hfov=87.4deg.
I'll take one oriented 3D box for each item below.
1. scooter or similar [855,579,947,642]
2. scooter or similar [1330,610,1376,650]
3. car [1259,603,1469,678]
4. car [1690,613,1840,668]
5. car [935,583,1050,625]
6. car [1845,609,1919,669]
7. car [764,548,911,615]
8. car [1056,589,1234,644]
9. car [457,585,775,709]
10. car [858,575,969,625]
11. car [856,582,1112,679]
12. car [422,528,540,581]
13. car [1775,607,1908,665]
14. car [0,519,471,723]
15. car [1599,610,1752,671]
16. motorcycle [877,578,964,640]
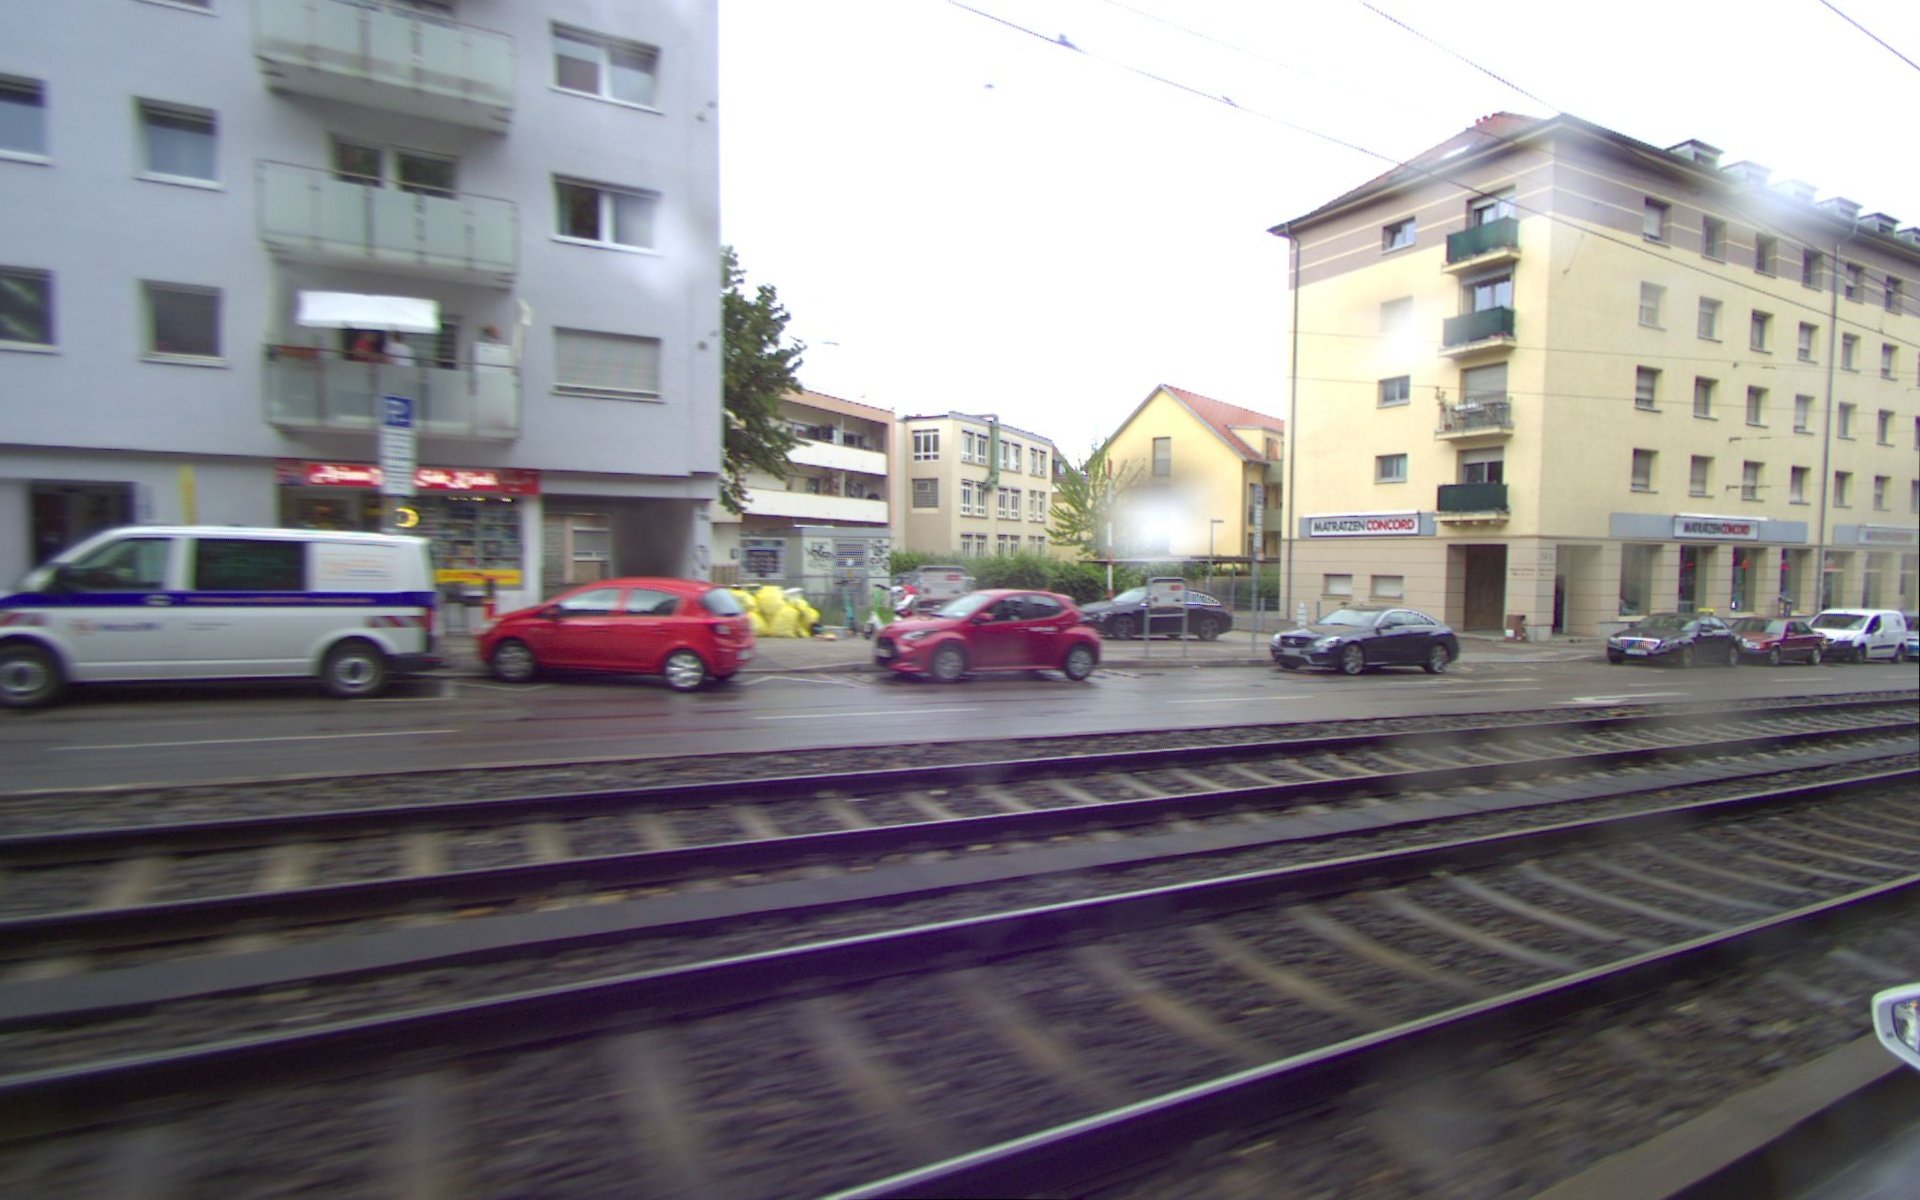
[{"bbox_3d":[-1.255,0.217,21.337,1.860,1.216,0.623,2,3,-9],"label":"scooter or similar"},{"bbox_3d":[11.945,0.912,30.550,0.375,1.127,1.282,1,2,-35],"label":"scooter or similar"},{"bbox_3d":[8.647,0.881,21.377,4.568,1.414,1.671,3,0,-30],"label":"car"},{"bbox_3d":[24.794,1.266,30.903,4.773,1.451,1.843,3,2,-29],"label":"car"},{"bbox_3d":[1.198,0.146,36.962,3.848,1.419,1.664,1,1,-23],"label":"car"},{"bbox_3d":[34.822,1.455,36.478,5.386,1.930,1.987,2,2,-25],"label":"car"},{"bbox_3d":[-3.565,-0.504,29.378,3.950,1.846,1.679,1,1,-28],"label":"car"},{"bbox_3d":[4.999,0.449,27.114,4.413,1.321,1.867,2,1,-22],"label":"car"},{"bbox_3d":[-4.857,0.617,14.516,3.902,1.453,1.786,3,1,6],"label":"car"},{"bbox_3d":[-1.772,-0.004,38.409,3.850,1.654,1.663,4,1,-24],"label":"car"},{"bbox_3d":[0.442,0.532,17.022,4.024,1.471,1.646,3,0,-29],"label":"car"},{"bbox_3d":[-18.722,-1.772,39.300,4.003,1.888,1.706,1,2,-32],"label":"car"},{"bbox_3d":[29.519,1.208,33.631,4.404,1.740,1.859,3,0,-28],"label":"car"},{"bbox_3d":[-8.795,0.213,11.945,5.237,2.036,2.060,2,4,-29],"label":"car"},{"bbox_3d":[20.054,1.143,28.091,4.941,1.528,1.839,3,0,-34],"label":"car"},{"bbox_3d":[-0.878,0.204,22.521,1.764,1.216,0.636,4,3,-30],"label":"motorcycle"}]
